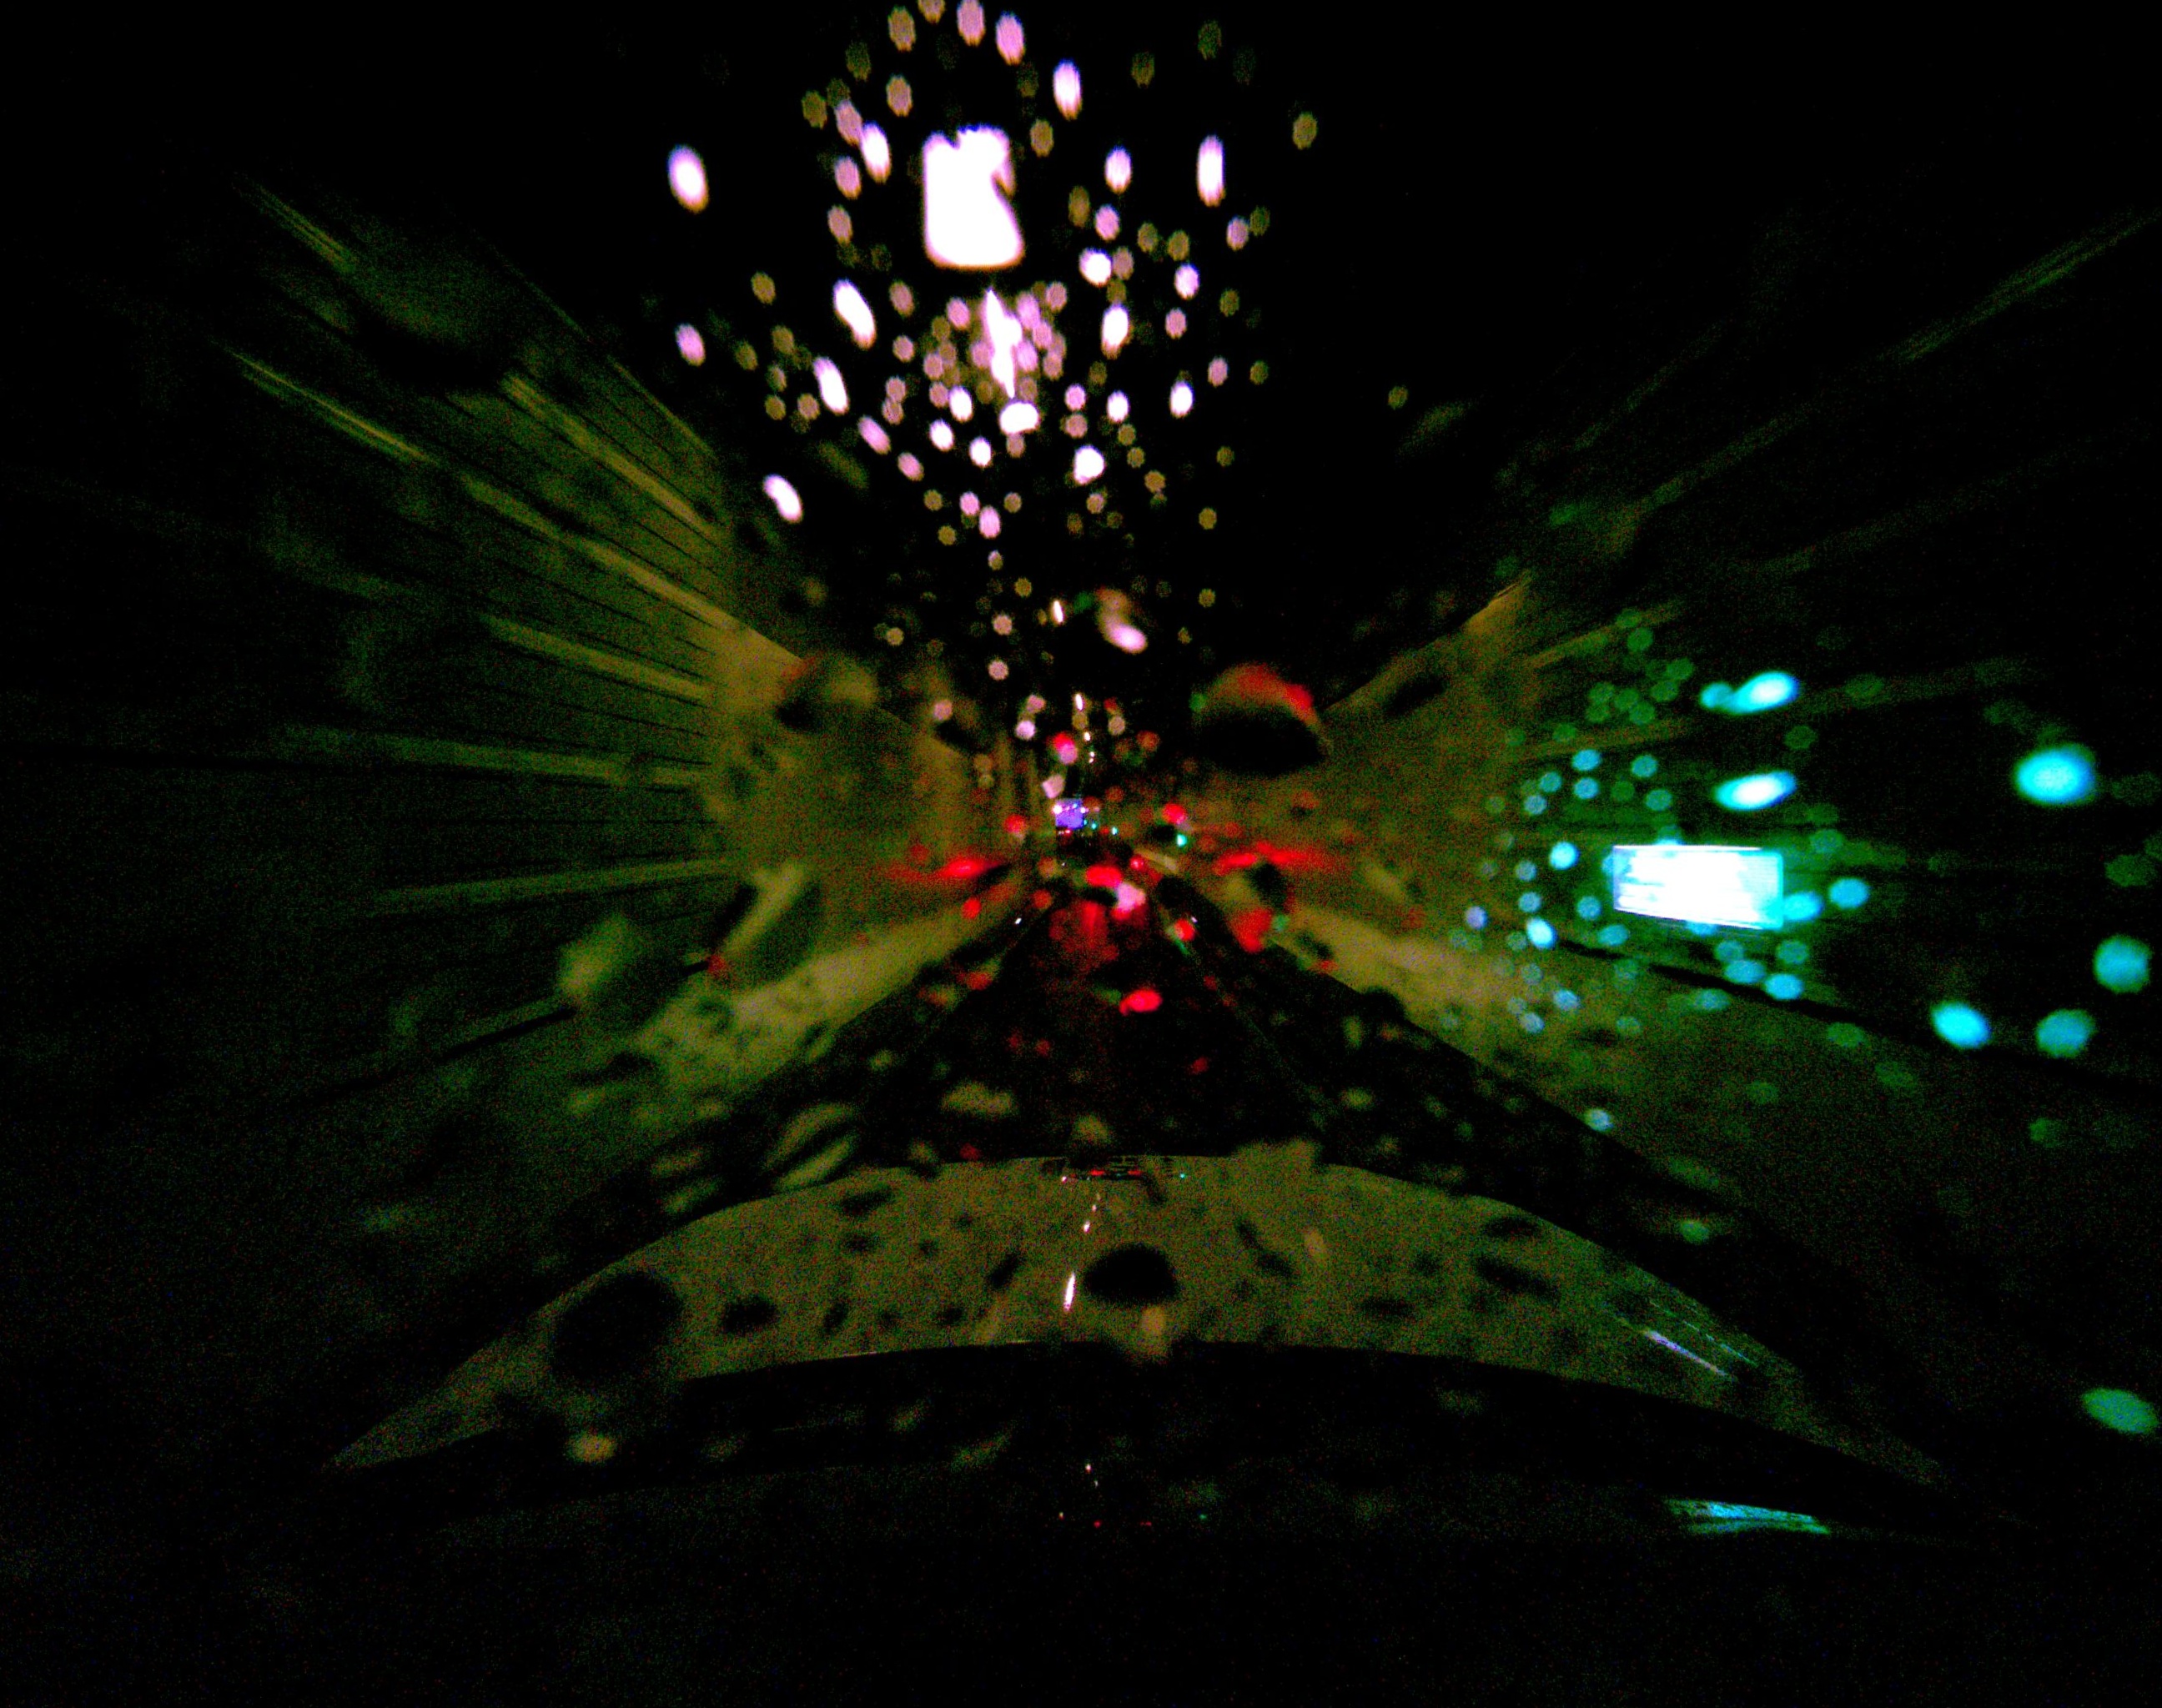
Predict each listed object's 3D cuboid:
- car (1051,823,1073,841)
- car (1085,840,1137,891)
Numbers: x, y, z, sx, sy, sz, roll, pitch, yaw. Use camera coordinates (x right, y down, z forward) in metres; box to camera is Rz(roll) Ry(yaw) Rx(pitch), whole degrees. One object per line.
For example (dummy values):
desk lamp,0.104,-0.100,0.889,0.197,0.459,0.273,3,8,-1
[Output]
car,-1.830,-2.107,76.884,1.876,1.620,3.995,0,1,-4
car,0.950,0.314,25.731,1.526,1.397,3.436,0,3,2
